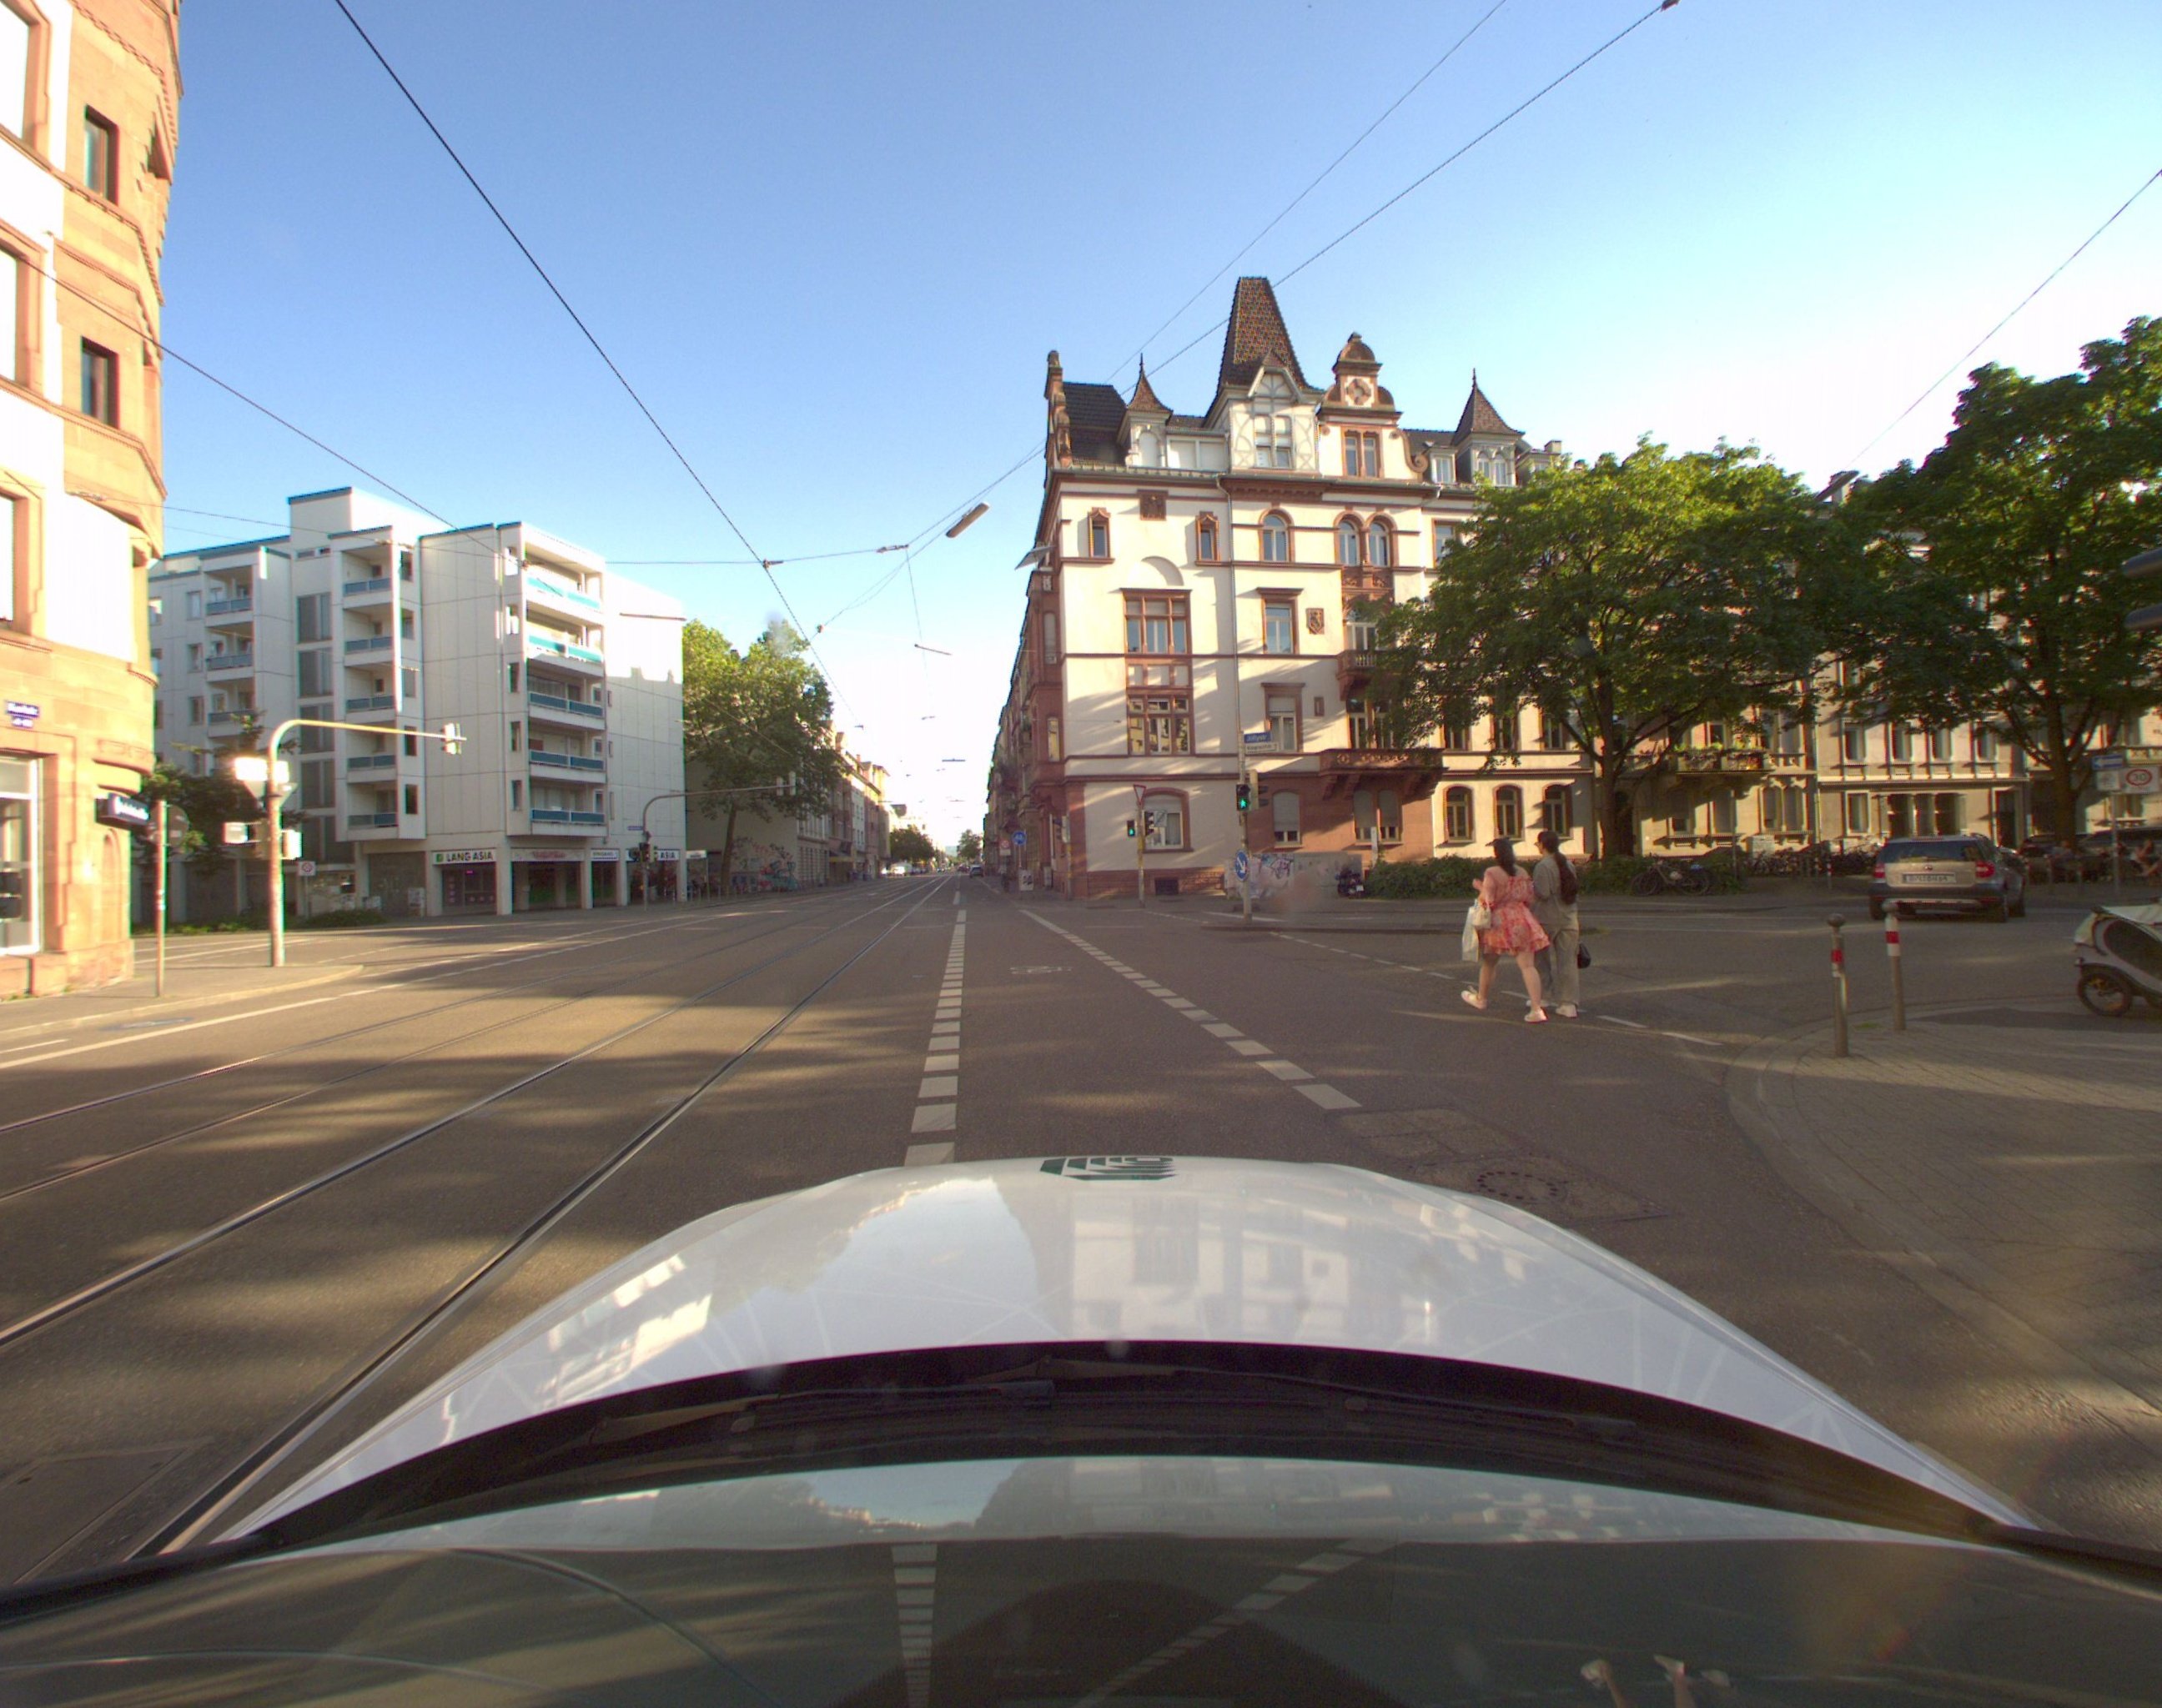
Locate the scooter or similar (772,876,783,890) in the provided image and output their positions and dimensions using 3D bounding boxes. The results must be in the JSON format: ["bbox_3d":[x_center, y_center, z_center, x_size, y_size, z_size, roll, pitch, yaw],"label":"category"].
[{"bbox_3d":[-23.686,2.263,63.614,0.517,1.045,1.473,-2,-1,-10],"label":"scooter or similar"}]

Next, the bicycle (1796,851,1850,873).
[{"bbox_3d":[31.337,0.345,34.437,0.491,0.893,1.794,-2,-1,-6],"label":"bicycle"}]

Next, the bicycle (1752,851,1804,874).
[{"bbox_3d":[28.930,0.348,33.839,0.491,0.893,1.794,-2,-1,-6],"label":"bicycle"}]

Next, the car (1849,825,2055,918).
[{"bbox_3d":[17.327,0.406,16.182,4.012,1.618,1.980,3,-3,-31],"label":"car"}]

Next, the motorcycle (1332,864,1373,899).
[{"bbox_3d":[9.144,0.912,27.553,0.716,1.020,2.289,-2,1,3],"label":"motorcycle"}]

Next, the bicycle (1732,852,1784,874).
[{"bbox_3d":[28.049,0.370,33.783,0.491,0.893,1.794,-2,-1,-6],"label":"bicycle"}]

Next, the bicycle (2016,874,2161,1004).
[{"bbox_3d":[9.219,0.711,7.130,0.775,1.045,1.063,-2,-2,1],"label":"bicycle"}]

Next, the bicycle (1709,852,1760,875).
[{"bbox_3d":[27.032,0.396,33.711,0.491,0.893,1.794,-2,-1,-6],"label":"bicycle"}]

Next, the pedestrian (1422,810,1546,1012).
[{"bbox_3d":[3.813,0.515,7.767,0.801,1.800,0.763,2,0,7],"label":"pedestrian"}]

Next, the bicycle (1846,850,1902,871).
[{"bbox_3d":[33.847,0.283,34.803,0.491,0.893,1.794,-2,-1,-6],"label":"bicycle"}]

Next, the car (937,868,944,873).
[{"bbox_3d":[-43.235,4.975,251.004,1.818,1.442,3.988,-1,-1,-8],"label":"car"}]

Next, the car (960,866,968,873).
[{"bbox_3d":[-30.948,4.011,214.964,1.993,1.728,3.987,-1,-1,-9],"label":"car"}]

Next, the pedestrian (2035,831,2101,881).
[{"bbox_3d":[29.994,0.064,24.761,0.904,1.428,0.770,-6,-2,24],"label":"pedestrian"}]

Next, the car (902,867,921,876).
[{"bbox_3d":[-40.806,4.171,196.251,4.015,2.014,1.979,-2,-1,-33],"label":"car"}]

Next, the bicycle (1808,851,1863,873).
[{"bbox_3d":[32.000,0.328,34.564,0.491,0.893,1.794,-2,-1,-6],"label":"bicycle"}]

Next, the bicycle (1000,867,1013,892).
[{"bbox_3d":[-4.176,1.420,45.560,0.652,1.323,2.172,-2,-1,-6],"label":"bicycle"}]

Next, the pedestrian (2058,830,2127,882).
[{"bbox_3d":[29.446,0.057,23.733,0.904,1.428,0.770,-6,-2,25],"label":"pedestrian"}]

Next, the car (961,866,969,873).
[{"bbox_3d":[-29.486,3.942,206.258,1.993,1.728,3.987,-1,-1,-9],"label":"car"}]

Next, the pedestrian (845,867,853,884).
[{"bbox_3d":[-24.026,2.219,84.253,0.701,1.728,0.646,-2,-1,-9],"label":"pedestrian"}]

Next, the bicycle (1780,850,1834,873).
[{"bbox_3d":[30.410,0.315,34.153,0.491,0.893,1.794,-2,-1,-6],"label":"bicycle"}]

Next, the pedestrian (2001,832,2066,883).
[{"bbox_3d":[28.470,0.108,24.363,0.904,1.428,0.770,-6,-2,25],"label":"pedestrian"}]

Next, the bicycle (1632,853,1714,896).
[{"bbox_3d":[17.052,0.589,23.508,1.841,1.161,0.563,-2,1,29],"label":"bicycle"}]

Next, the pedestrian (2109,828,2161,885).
[{"bbox_3d":[28.444,0.054,21.730,0.904,1.428,0.770,-6,-2,24],"label":"pedestrian"}]

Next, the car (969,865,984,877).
[{"bbox_3d":[-14.612,2.363,114.323,1.948,1.684,3.990,-2,-1,-7],"label":"car"}]

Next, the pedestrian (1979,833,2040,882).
[{"bbox_3d":[28.858,0.118,25.332,0.904,1.428,0.770,-6,-2,24],"label":"pedestrian"}]

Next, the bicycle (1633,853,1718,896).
[{"bbox_3d":[16.749,0.586,22.984,1.841,1.161,0.563,-2,1,29],"label":"bicycle"}]

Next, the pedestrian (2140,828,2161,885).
[{"bbox_3d":[28.038,0.045,20.769,0.904,1.428,0.770,-6,-2,25],"label":"pedestrian"}]

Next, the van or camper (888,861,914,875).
[{"bbox_3d":[-35.707,2.780,161.694,4.673,2.563,1.977,0,-2,-39],"label":"van or camper"}]

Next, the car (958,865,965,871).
[{"bbox_3d":[-35.611,4.125,241.804,1.993,1.728,3.987,-1,-1,-9],"label":"car"}]

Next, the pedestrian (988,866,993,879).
[{"bbox_3d":[-12.157,2.500,109.051,0.544,1.780,0.747,-2,-1,-8],"label":"pedestrian"}]

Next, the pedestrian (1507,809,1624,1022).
[{"bbox_3d":[4.550,0.548,7.682,0.689,1.908,0.669,-1,0,-6],"label":"pedestrian"}]

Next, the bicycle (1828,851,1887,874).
[{"bbox_3d":[31.663,0.349,33.208,1.782,0.893,0.494,-2,-1,6],"label":"bicycle"}]

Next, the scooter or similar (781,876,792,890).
[{"bbox_3d":[-23.071,2.243,63.745,0.517,1.057,1.473,-2,-1,-10],"label":"scooter or similar"}]

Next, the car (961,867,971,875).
[{"bbox_3d":[-24.969,3.668,176.309,1.993,1.728,3.987,-1,-1,-9],"label":"car"}]

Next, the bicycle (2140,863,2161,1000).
[{"bbox_3d":[10.010,0.654,6.482,0.503,1.223,1.917,-2,-2,-4],"label":"bicycle"}]

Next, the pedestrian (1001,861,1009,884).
[{"bbox_3d":[-5.959,1.435,63.680,0.544,1.780,0.502,-2,-1,-8],"label":"pedestrian"}]
